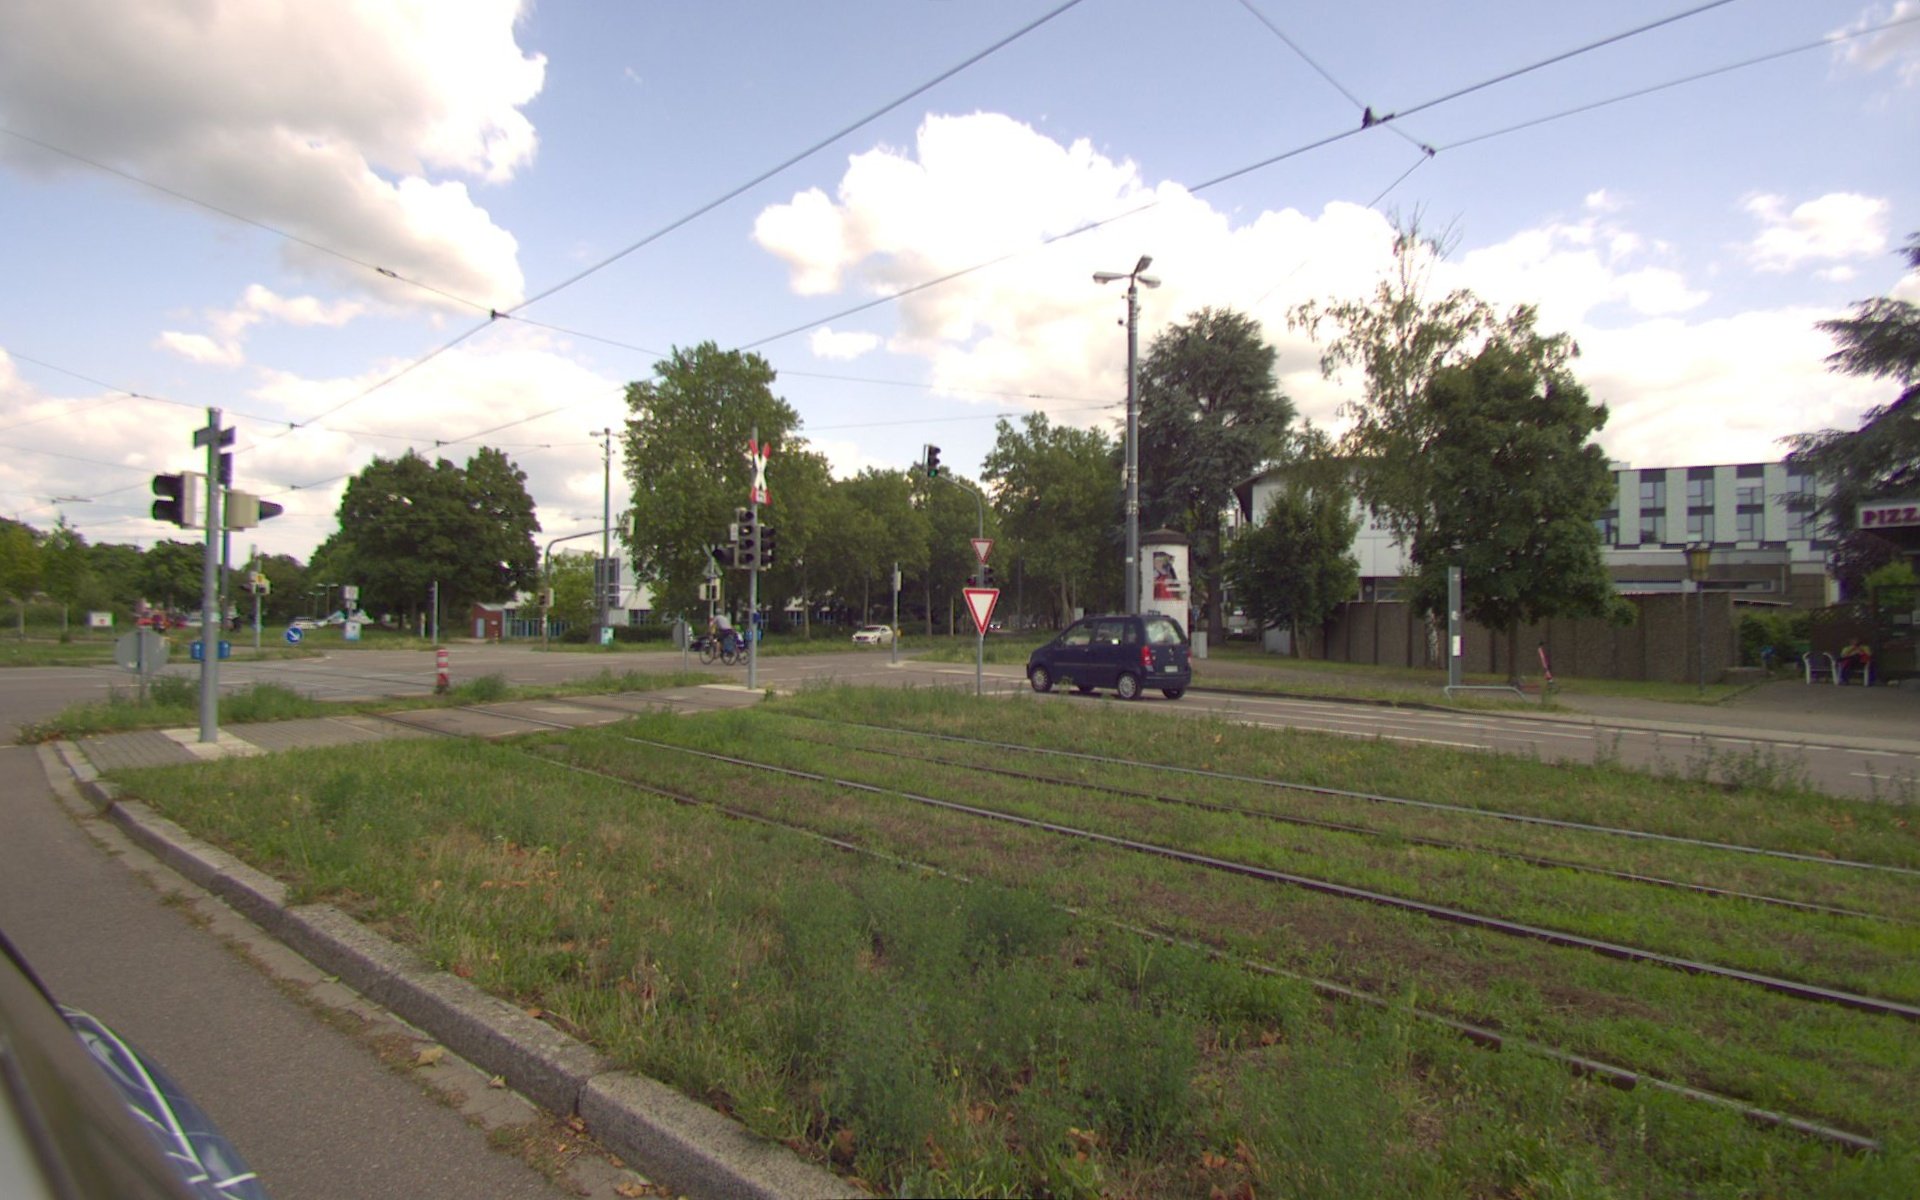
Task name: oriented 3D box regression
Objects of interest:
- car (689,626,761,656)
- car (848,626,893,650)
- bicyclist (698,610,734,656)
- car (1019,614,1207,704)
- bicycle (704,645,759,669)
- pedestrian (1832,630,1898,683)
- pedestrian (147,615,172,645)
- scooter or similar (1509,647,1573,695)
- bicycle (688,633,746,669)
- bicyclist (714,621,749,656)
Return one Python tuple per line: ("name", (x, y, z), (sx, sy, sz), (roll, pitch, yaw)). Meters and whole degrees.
("car", (-12.704, 2.193, 54.953), (1.692, 1.535, 3.819), (0, -2, 29))
("car", (-5.921, 2.535, 67.576), (1.685, 1.535, 3.889), (0, -1, 17))
("bicyclist", (-7.838, 1.049, 32.486), (0.923, 1.468, 0.619), (0, -2, 26))
("car", (3.046, 1.133, 20.610), (1.756, 1.639, 3.501), (2, -1, -40))
("bicycle", (-7.492, 1.855, 33.162), (1.796, 0.723, 0.641), (0, -2, 29))
("pedestrian", (20.552, 1.274, 22.975), (1.138, 1.155, 0.934), (2, -2, -39))
("pedestrian", (-50.197, 1.861, 63.448), (0.998, 1.882, 0.899), (-1, -2, 28))
("scooter or similar", (13.267, 1.604, 23.141), (0.420, 1.041, 1.227), (1, -2, -29))
("bicycle", (-7.799, 1.616, 32.450), (1.795, 1.088, 0.642), (0, -2, 26))
("bicyclist", (-7.499, 1.250, 33.189), (0.924, 1.121, 0.635), (0, -2, 28))
